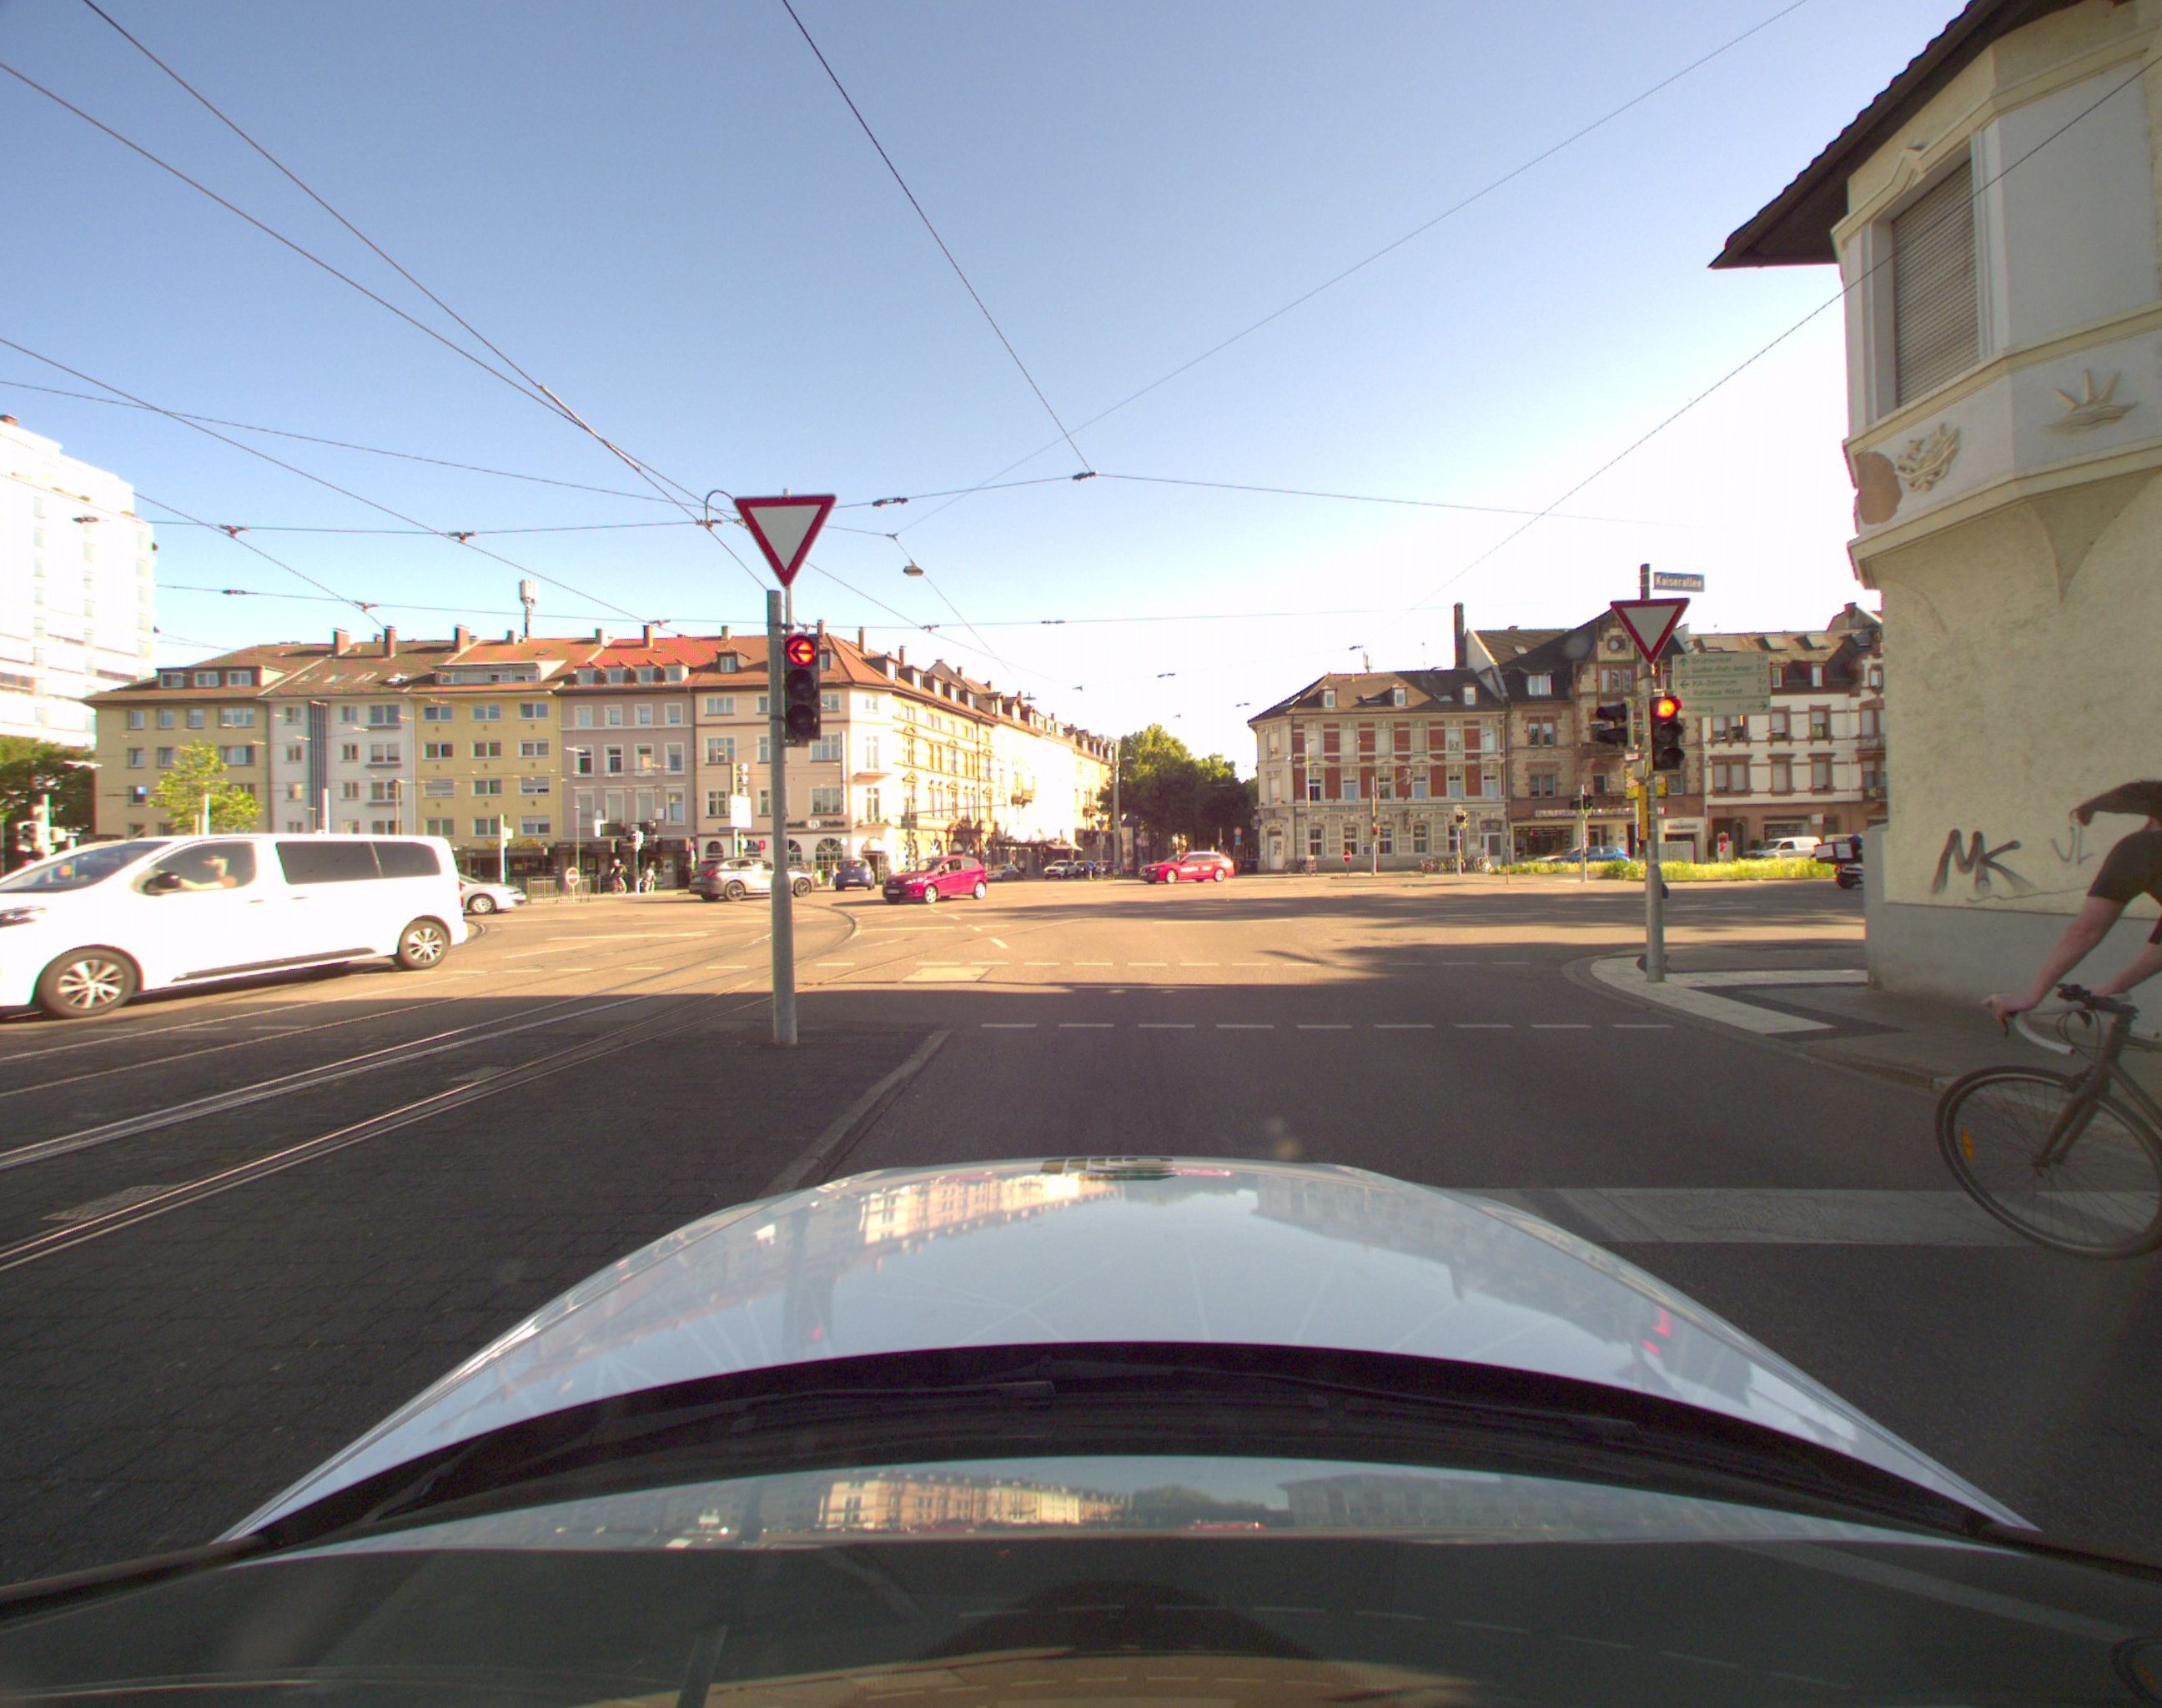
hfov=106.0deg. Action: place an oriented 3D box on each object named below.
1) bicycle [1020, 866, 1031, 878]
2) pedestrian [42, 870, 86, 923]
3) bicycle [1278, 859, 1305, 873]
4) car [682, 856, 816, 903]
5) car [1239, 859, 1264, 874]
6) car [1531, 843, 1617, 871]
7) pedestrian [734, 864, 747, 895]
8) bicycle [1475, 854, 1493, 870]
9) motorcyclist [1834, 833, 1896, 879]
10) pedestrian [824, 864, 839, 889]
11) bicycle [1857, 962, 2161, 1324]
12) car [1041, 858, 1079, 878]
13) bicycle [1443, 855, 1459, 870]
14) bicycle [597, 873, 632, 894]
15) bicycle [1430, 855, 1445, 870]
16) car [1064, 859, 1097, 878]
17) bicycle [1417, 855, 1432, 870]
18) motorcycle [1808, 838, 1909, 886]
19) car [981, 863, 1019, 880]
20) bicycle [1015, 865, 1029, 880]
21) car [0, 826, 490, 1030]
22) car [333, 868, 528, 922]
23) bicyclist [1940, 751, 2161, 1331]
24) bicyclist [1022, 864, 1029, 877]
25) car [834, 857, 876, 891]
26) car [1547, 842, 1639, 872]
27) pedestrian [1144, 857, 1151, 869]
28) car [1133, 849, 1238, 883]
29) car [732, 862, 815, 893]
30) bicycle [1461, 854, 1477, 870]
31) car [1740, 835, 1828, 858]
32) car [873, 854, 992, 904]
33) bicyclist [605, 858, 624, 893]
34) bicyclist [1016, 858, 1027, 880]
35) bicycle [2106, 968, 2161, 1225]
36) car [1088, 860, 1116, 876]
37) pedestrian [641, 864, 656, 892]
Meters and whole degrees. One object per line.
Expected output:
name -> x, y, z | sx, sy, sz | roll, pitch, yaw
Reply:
bicycle -> -4.603, 1.499, 67.744 | 0.469, 0.922, 1.458 | -1, -1, 17
pedestrian -> -31.748, 1.303, 25.431 | 0.770, 1.609, 0.605 | 0, -1, -44
bicycle -> 14.706, 0.823, 56.939 | 1.789, 0.963, 0.606 | -1, -1, 16
car -> -12.745, 0.957, 31.517 | 1.850, 1.602, 4.483 | -2, 0, 36
car -> 17.183, 1.244, 82.166 | 1.741, 1.556, 4.021 | -1, -1, 22
car -> 29.137, 0.192, 48.203 | 3.970, 1.622, 1.806 | 0, -1, 3
pedestrian -> -20.211, 1.532, 48.315 | 0.526, 1.823, 0.675 | 0, -1, -6
bicycle -> 26.045, 0.527, 52.691 | 0.785, 1.016, 2.221 | -1, -1, 20
motorcyclist -> 22.643, 0.065, 23.524 | 1.011, 1.300, 0.789 | 0, -1, 1
pedestrian -> -16.089, 1.476, 52.565 | 0.666, 1.594, 0.815 | 0, -1, 1
bicycle -> 3.591, 0.961, 2.644 | 0.480, 0.991, 1.783 | 0, -1, 2
car -> -1.684, 1.172, 67.496 | 1.788, 1.585, 4.179 | -1, -1, 19
bicycle -> 24.045, 0.557, 52.989 | 0.758, 0.983, 2.221 | -1, -1, 20
bicycle -> -23.894, 1.497, 41.725 | 0.618, 1.030, 1.758 | 0, -1, 7
bicycle -> 23.258, 0.564, 53.113 | 0.758, 0.968, 2.221 | -1, -1, 20
car -> -0.033, 1.284, 73.798 | 1.809, 1.685, 3.893 | -1, -1, 18
bicycle -> 22.503, 0.571, 53.379 | 0.758, 0.963, 2.221 | -1, -1, 20
motorcycle -> 22.439, 0.230, 23.531 | 2.127, 1.333, 0.797 | 0, -1, 1
car -> -6.655, 1.434, 67.257 | 1.647, 1.374, 3.909 | -1, -1, 17
bicycle -> -4.735, 1.482, 65.494 | 0.561, 1.254, 1.564 | -1, -1, 17
car -> -10.331, 0.682, 9.744 | 1.980, 1.854, 5.234 | -2, 0, 12
car -> -19.320, 1.176, 24.450 | 4.234, 1.389, 1.721 | -2, 0, -25
bicyclist -> 3.587, 0.569, 2.648 | 0.587, 1.767, 0.936 | 0, -1, 2
bicyclist -> -4.604, 1.374, 67.755 | 0.469, 1.040, 0.540 | -1, -1, 17
car -> -11.146, 0.960, 40.375 | 1.786, 1.503, 3.902 | -2, 0, -13
car -> 28.328, 0.173, 45.137 | 3.970, 1.622, 1.806 | 0, -1, 3
pedestrian -> 9.650, 1.289, 118.648 | 0.714, 1.790, 0.690 | 0, -1, -34
car -> 5.066, 0.530, 39.246 | 4.887, 1.469, 1.787 | -2, 1, -29
car -> -16.474, 1.261, 43.564 | 4.146, 1.575, 1.842 | -1, 0, 28
bicycle -> 25.178, 0.535, 52.871 | 0.758, 1.007, 2.231 | -1, -1, 20
car -> 45.204, -0.449, 52.456 | 3.961, 1.438, 1.874 | 0, -1, 5
car -> -4.693, 0.759, 26.207 | 1.575, 1.426, 3.906 | -1, 0, 31
bicyclist -> -23.896, 1.108, 41.732 | 0.618, 1.790, 0.616 | 0, -1, 7
bicyclist -> -4.763, 1.201, 65.442 | 0.561, 1.804, 0.918 | -1, -1, 17
bicycle -> 4.461, 0.954, 2.465 | 0.501, 0.983, 1.783 | 0, -1, 2
car -> 2.076, 1.373, 79.864 | 1.788, 1.575, 3.908 | -1, -1, 17
pedestrian -> -26.282, 1.455, 49.450 | 0.582, 1.648, 0.616 | 0, -1, 1
